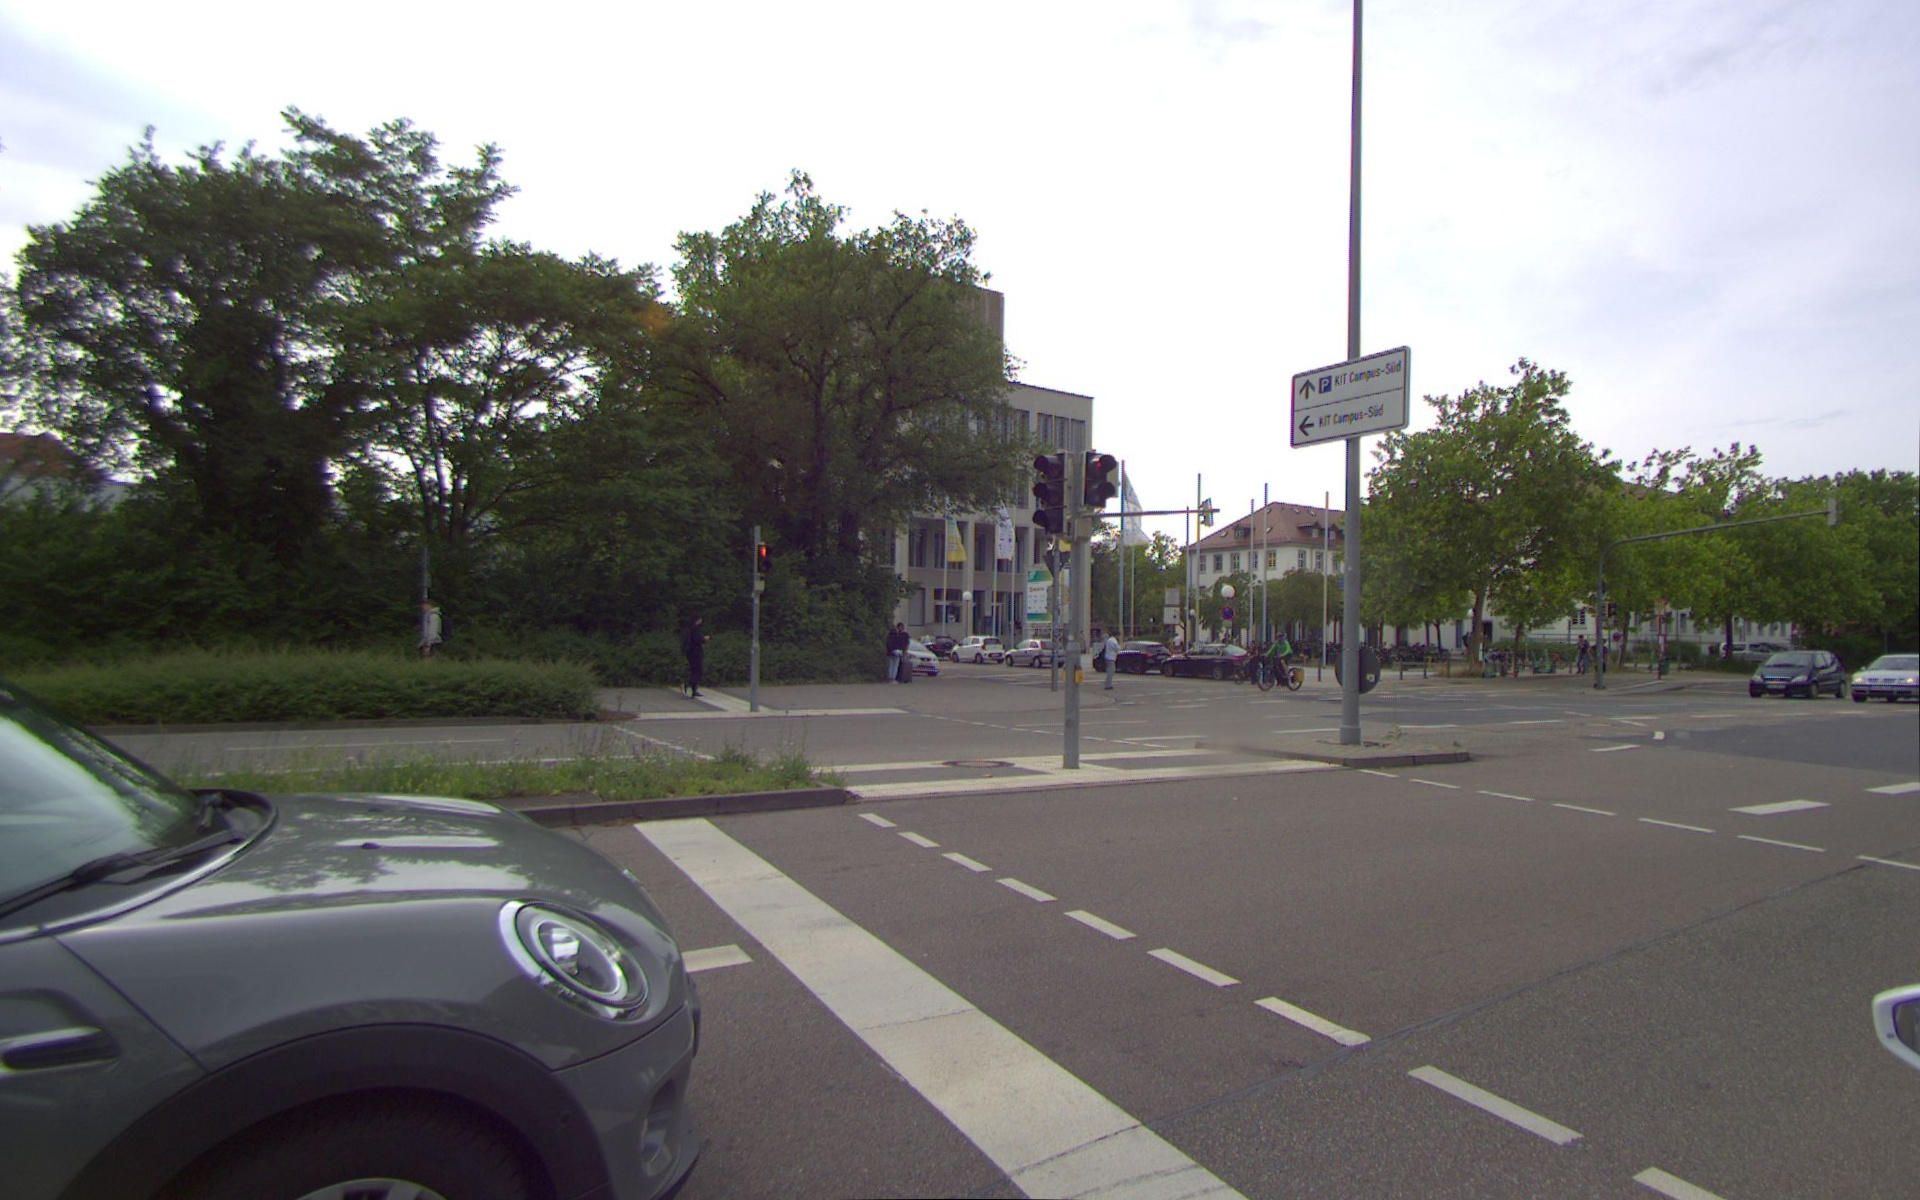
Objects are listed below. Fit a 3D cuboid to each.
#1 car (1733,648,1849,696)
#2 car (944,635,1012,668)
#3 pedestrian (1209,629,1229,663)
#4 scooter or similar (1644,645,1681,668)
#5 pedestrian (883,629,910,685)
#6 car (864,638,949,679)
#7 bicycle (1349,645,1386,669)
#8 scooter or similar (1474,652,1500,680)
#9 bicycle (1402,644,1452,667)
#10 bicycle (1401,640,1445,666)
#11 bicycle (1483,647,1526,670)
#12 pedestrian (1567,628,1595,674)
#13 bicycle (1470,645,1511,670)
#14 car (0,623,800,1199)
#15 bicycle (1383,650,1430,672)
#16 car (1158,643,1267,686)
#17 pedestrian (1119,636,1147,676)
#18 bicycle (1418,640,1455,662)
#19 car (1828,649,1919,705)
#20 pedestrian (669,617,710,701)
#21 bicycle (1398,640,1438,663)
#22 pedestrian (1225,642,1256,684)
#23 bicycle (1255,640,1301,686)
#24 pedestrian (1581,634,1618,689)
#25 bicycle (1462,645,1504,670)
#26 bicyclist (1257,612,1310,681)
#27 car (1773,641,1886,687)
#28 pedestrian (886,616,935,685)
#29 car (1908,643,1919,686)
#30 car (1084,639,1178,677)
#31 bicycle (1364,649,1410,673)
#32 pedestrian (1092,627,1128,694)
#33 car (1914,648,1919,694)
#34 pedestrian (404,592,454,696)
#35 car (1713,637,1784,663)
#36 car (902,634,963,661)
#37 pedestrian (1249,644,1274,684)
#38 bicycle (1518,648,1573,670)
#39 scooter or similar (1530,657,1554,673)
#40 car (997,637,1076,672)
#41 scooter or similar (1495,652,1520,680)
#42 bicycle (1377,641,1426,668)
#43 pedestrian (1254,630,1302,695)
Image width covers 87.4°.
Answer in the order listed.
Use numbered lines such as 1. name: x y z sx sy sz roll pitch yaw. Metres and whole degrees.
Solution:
1. car: 27.791 2.371 33.576 3.654 1.483 1.844 2 -2 -30
2. car: 0.945 2.854 55.972 1.835 1.705 3.962 2 -3 -35
3. pedestrian: 15.851 2.817 61.518 0.783 2.040 1.092 -1 -3 39
4. scooter or similar: 38.980 3.116 55.734 0.560 1.260 1.565 2 -2 -33
5. pedestrian: -1.883 1.687 29.712 0.598 1.627 0.497 2 -1 -42
6. car: -2.185 2.338 40.404 1.844 1.469 3.563 2 -1 -34
7. bicycle: 27.799 3.863 68.553 0.907 1.579 2.658 1 -2 -16
8. scooter or similar: 21.727 2.712 41.412 1.306 1.155 0.358 2 -3 -34
9. bicycle: 28.774 3.408 61.943 0.715 1.347 2.798 2 -3 -37
10. bicycle: 29.126 3.304 63.212 0.916 1.579 2.421 3 -3 -43
11. bicycle: 30.010 3.213 55.354 2.005 1.168 0.718 -1 -3 39
12. pedestrian: 28.159 2.314 45.544 0.919 2.040 0.795 2 0 -40
13. bicycle: 35.389 3.822 67.059 0.715 1.615 2.382 2 -3 -37
14. car: -2.306 0.701 1.793 3.662 1.335 1.614 2 -2 -30
15. bicycle: 26.732 3.643 60.190 0.715 1.286 2.517 2 -3 -37
16. car: 10.507 2.645 42.021 1.982 1.491 4.112 2 0 -37
17. pedestrian: 9.062 2.913 52.572 1.007 2.040 0.996 2 -2 -34
18. bicycle: 35.133 3.746 74.089 0.907 1.579 2.658 1 -2 -16
19. car: 28.287 2.263 30.135 4.220 1.549 1.986 2 -2 -28
20. pedestrian: -5.691 1.221 21.113 0.645 1.717 0.586 2 0 -31
21. bicycle: 33.443 3.736 73.346 0.907 1.579 3.079 1 -2 -16
22. pedestrian: 10.690 2.378 38.279 0.812 1.533 0.971 2 0 37
23. bicycle: 9.965 1.957 31.425 0.597 1.351 2.303 2 0 37
24. pedestrian: 24.196 2.321 38.010 1.000 2.040 0.888 2 -2 -36
25. bicycle: 34.519 3.787 66.284 0.715 1.615 2.382 2 -3 -37
26. bicyclist: 10.059 1.422 31.202 1.165 2.040 1.277 2 0 37
27. car: 33.516 2.448 38.704 3.949 1.641 1.986 2 -2 -28
28. pedestrian: -1.507 1.525 30.680 1.022 2.040 1.099 2 0 25
29. car: 43.573 2.875 44.176 4.441 1.872 1.761 2 0 -33
30. car: 7.771 2.621 45.932 1.982 1.491 3.958 2 0 -37
31. bicycle: 25.140 3.583 59.215 0.715 1.371 2.466 2 -3 -37
32. pedestrian: 4.822 1.937 32.225 0.844 2.086 0.662 3 -1 -34
33. car: 35.803 2.517 35.547 4.207 1.605 1.947 1 -1 -31
34. pedestrian: -10.818 0.892 20.486 0.811 2.040 0.904 2 -2 -25
35. car: 55.063 3.505 70.195 1.636 1.623 3.561 2 0 -35
36. car: -1.656 2.814 60.031 1.869 1.573 3.964 2 -3 -33
37. pedestrian: 11.304 2.396 37.667 0.687 1.447 0.999 2 0 28
38. bicycle: 34.084 3.408 58.510 0.715 1.190 2.727 2 -3 -37
39. scooter or similar: 27.028 3.000 46.667 1.274 0.703 0.404 2 0 -31
40. car: 3.907 2.778 51.744 1.980 1.601 3.961 2 0 -34
41. scooter or similar: 23.067 2.764 42.293 1.306 1.155 0.358 2 -3 -34
42. bicycle: 27.011 3.337 61.525 0.916 1.579 2.633 3 -3 -43
43. pedestrian: 10.532 2.052 33.236 1.165 2.040 1.138 2 0 37
